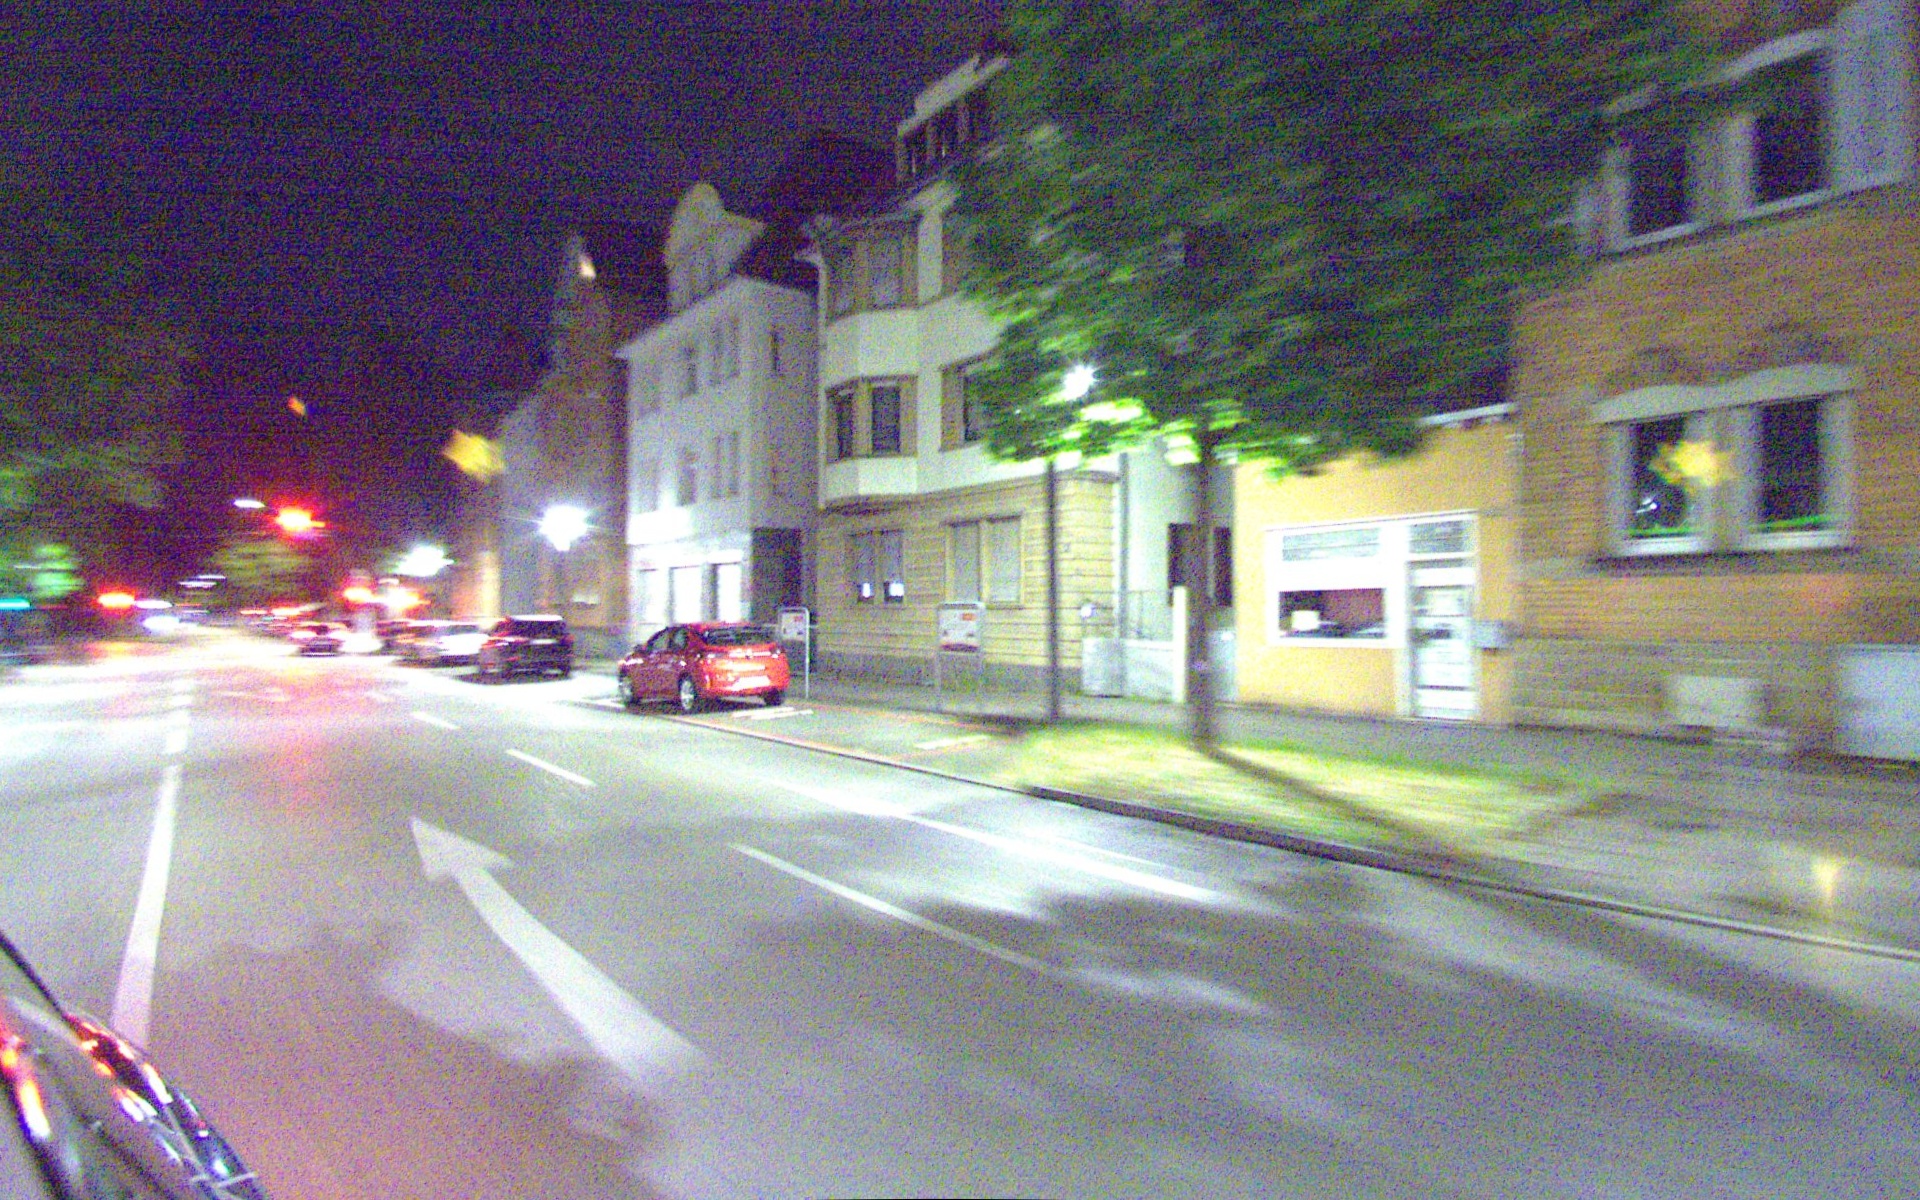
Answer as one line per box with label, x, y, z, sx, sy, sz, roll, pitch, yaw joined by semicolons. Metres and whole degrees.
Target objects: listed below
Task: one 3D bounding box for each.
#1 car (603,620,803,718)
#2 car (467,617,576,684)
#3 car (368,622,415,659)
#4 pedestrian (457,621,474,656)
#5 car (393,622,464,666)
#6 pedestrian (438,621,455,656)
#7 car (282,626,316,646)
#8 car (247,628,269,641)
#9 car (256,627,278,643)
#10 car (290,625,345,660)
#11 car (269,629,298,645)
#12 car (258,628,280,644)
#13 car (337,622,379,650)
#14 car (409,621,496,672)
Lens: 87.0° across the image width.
car;-4.530;1.104;17.410;1.762;1.426;4.134;-1;-1;-39
car;-11.962;1.317;27.455;1.761;1.594;4.421;-3;0;-36
car;-25.809;1.808;45.872;1.571;1.502;3.709;-3;0;-33
pedestrian;-24.367;1.896;49.873;0.699;1.703;1.001;1;-2;-27
car;-20.217;1.630;38.413;1.761;1.502;4.340;-3;0;-35
pedestrian;-25.103;1.865;49.458;0.699;1.703;1.128;1;-2;-27
car;-51.558;2.812;78.909;1.836;1.444;4.453;-1;-1;-37
car;-81.076;3.925;116.863;1.608;1.475;3.519;2;-2;-41
car;-70.881;3.557;103.426;1.617;1.444;4.359;-2;0;-37
car;-27.836;1.847;43.799;1.693;1.440;4.009;2;-3;-37
car;-62.449;3.401;93.397;1.837;1.444;4.411;0;-1;-40
car;-67.786;3.480;99.266;1.531;1.444;4.357;-2;0;-37
car;-37.592;2.213;63.143;1.861;1.608;4.033;-1;0;-36
car;-17.018;1.527;33.871;1.762;1.502;4.007;-3;0;-39
